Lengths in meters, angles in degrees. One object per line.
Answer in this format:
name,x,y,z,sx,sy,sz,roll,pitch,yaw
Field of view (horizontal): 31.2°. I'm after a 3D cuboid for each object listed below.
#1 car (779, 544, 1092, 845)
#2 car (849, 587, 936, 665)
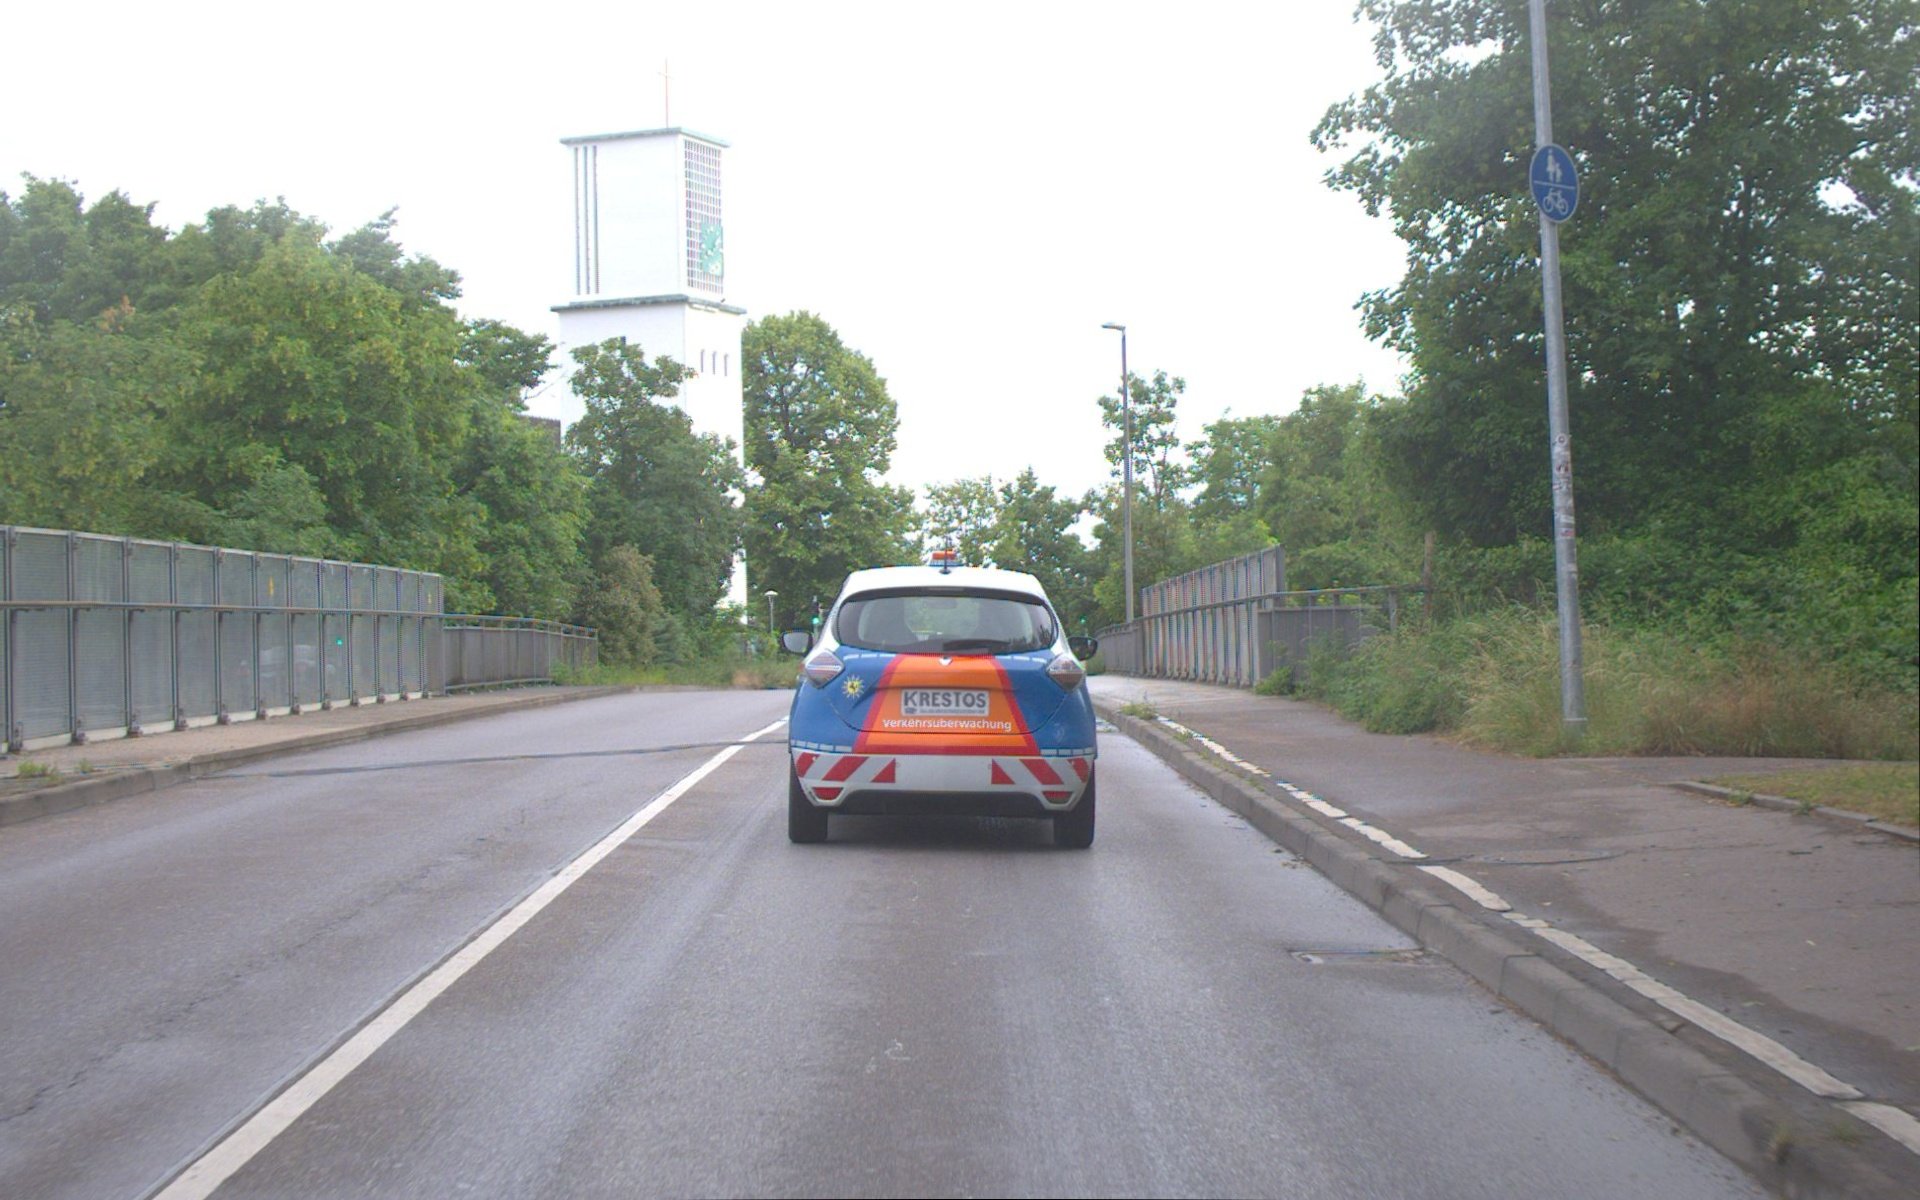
car,-0.149,0.510,20.194,1.657,1.587,3.568,-1,0,-1
car,-1.496,0.552,75.579,1.802,1.584,3.563,-2,0,-1
